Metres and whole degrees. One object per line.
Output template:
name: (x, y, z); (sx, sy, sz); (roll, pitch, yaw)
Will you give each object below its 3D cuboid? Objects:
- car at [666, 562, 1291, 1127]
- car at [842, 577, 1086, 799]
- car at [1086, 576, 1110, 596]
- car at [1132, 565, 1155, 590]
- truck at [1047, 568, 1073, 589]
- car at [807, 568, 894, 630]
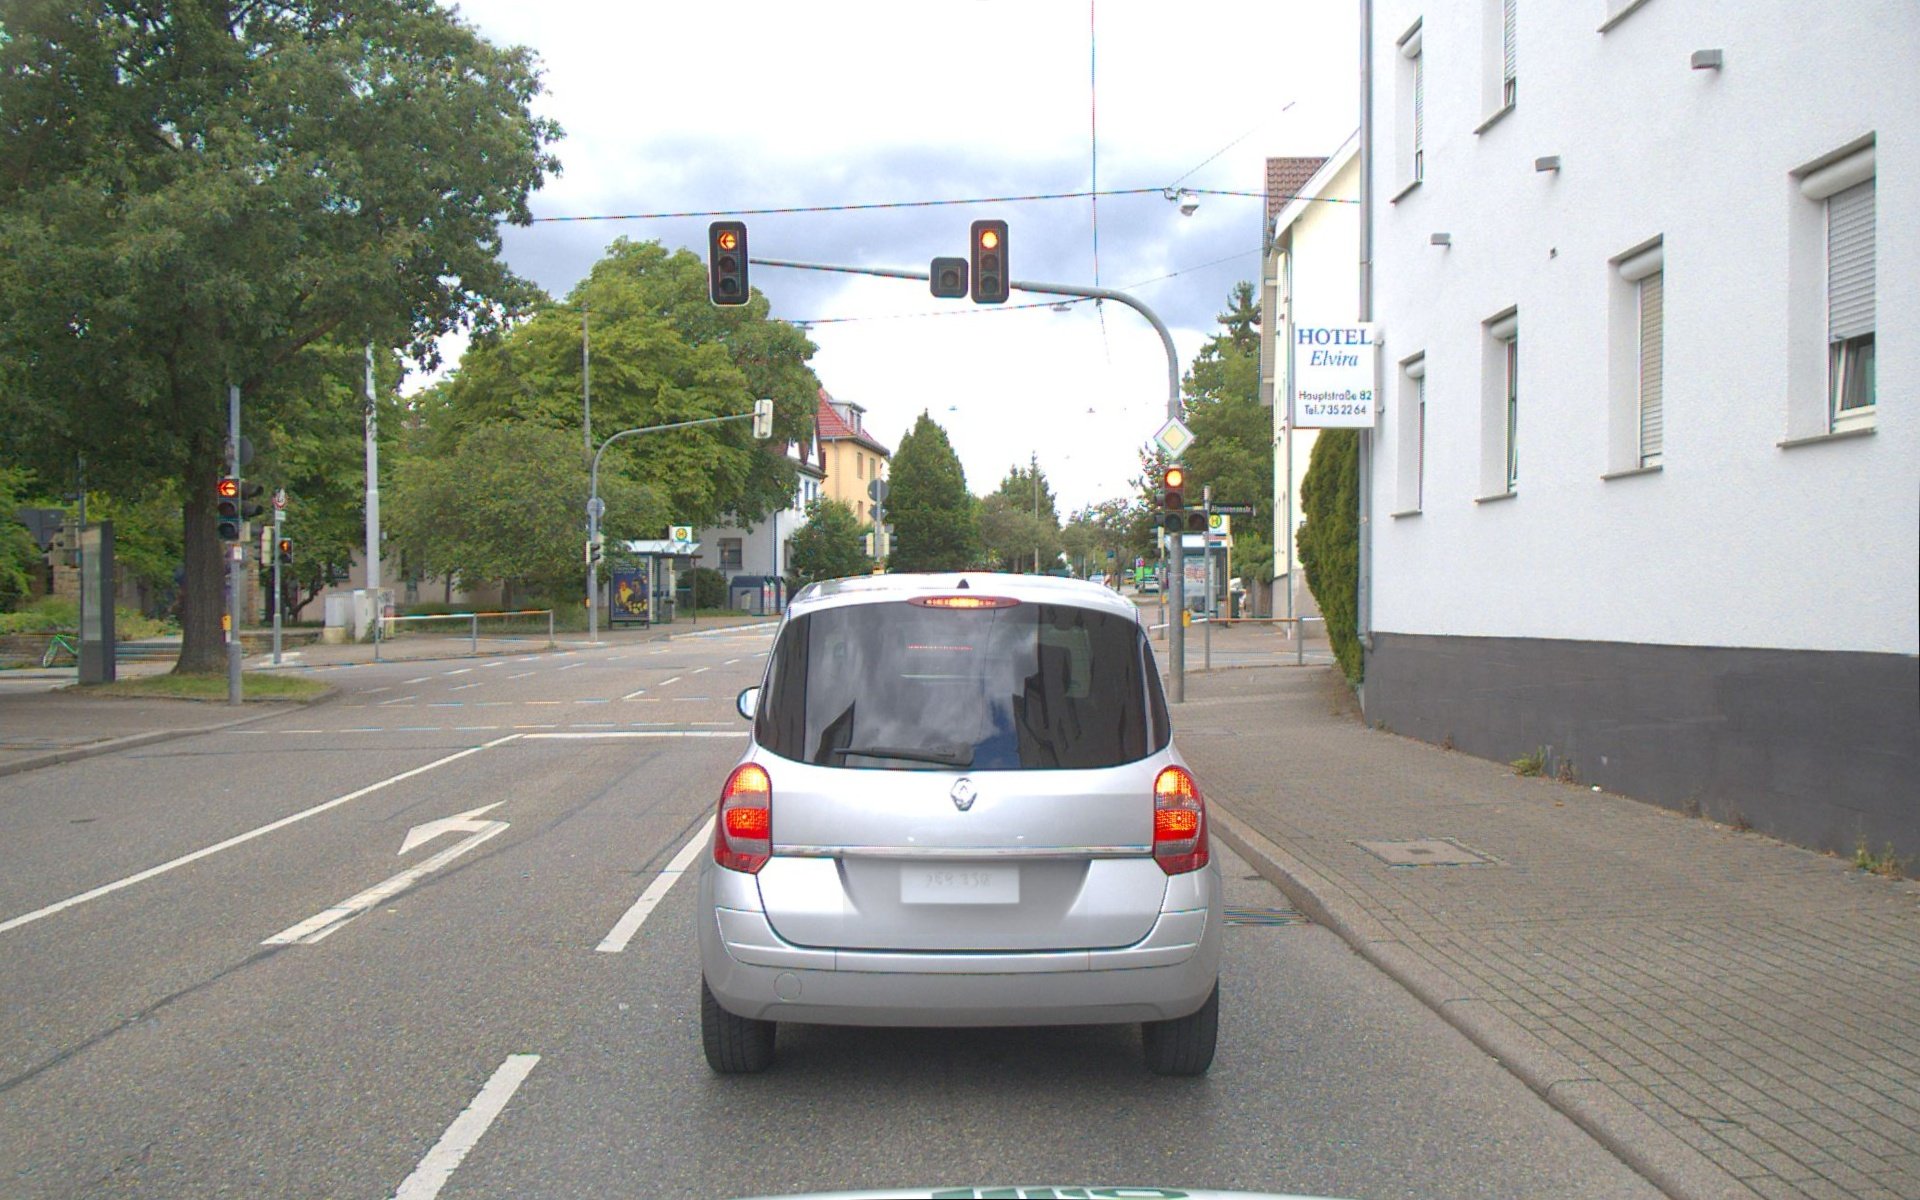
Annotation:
car: (0.016, 0.679, 6.588); (1.719, 1.557, 3.999); (1, 0, -1)
car: (-0.008, 0.622, 13.625); (1.719, 1.557, 3.796); (1, 0, -1)
car: (12.802, -1.309, 153.044); (1.818, 1.778, 4.003); (1, 0, 11)
car: (20.054, -2.431, 180.848); (2.015, 2.556, 5.600); (1, 0, 11)
truck: (10.096, -2.152, 166.694); (2.056, 2.049, 5.752); (1, 0, 9)
car: (-3.532, -0.049, 54.139); (1.885, 1.804, 4.004); (-4, 0, 9)
